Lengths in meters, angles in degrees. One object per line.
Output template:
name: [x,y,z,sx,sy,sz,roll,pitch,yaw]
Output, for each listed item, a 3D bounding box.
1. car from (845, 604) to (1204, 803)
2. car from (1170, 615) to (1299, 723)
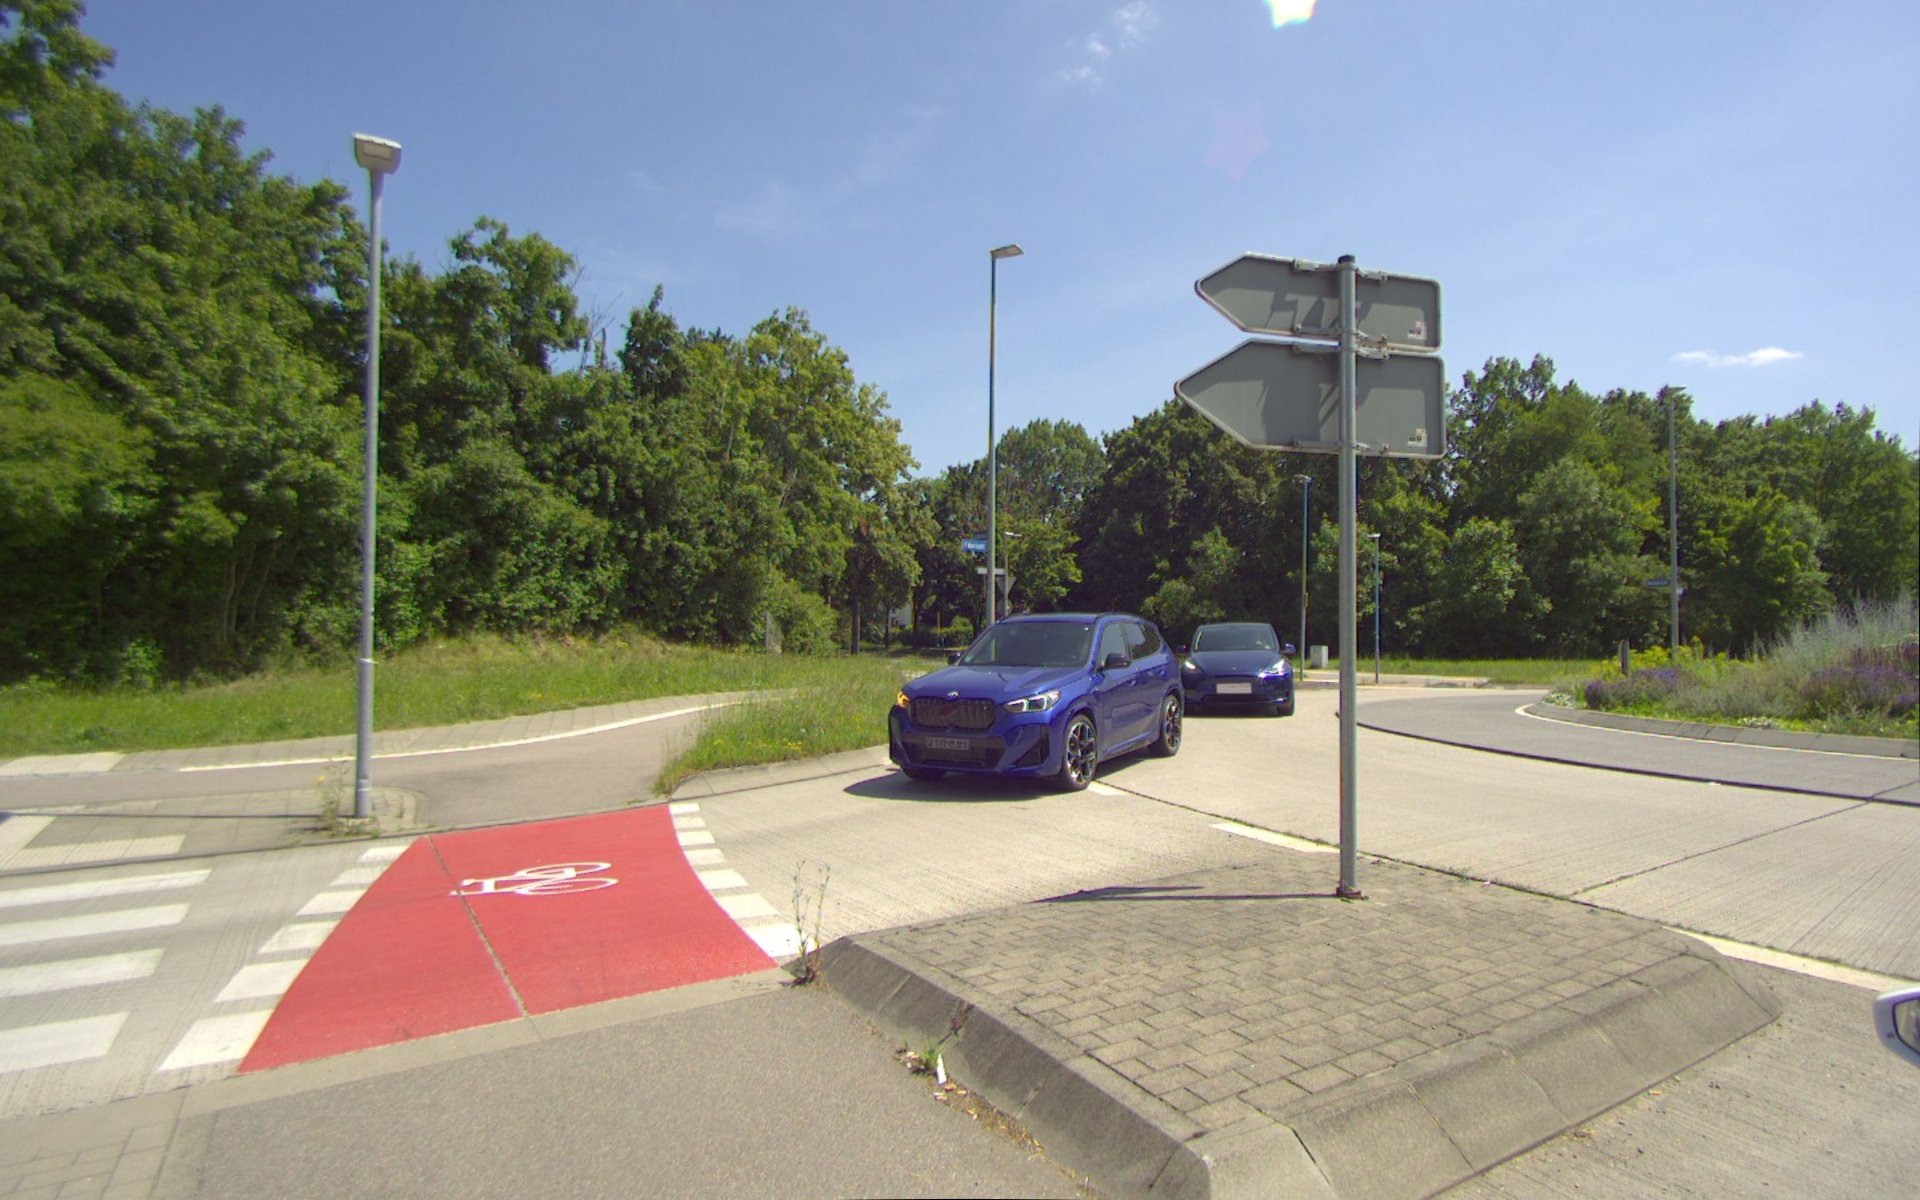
car: [0.910,0.898,10.533,1.965,1.617,4.312,-2,-2,32]
car: [5.058,1.146,18.264,1.960,1.661,4.759,0,-2,17]
